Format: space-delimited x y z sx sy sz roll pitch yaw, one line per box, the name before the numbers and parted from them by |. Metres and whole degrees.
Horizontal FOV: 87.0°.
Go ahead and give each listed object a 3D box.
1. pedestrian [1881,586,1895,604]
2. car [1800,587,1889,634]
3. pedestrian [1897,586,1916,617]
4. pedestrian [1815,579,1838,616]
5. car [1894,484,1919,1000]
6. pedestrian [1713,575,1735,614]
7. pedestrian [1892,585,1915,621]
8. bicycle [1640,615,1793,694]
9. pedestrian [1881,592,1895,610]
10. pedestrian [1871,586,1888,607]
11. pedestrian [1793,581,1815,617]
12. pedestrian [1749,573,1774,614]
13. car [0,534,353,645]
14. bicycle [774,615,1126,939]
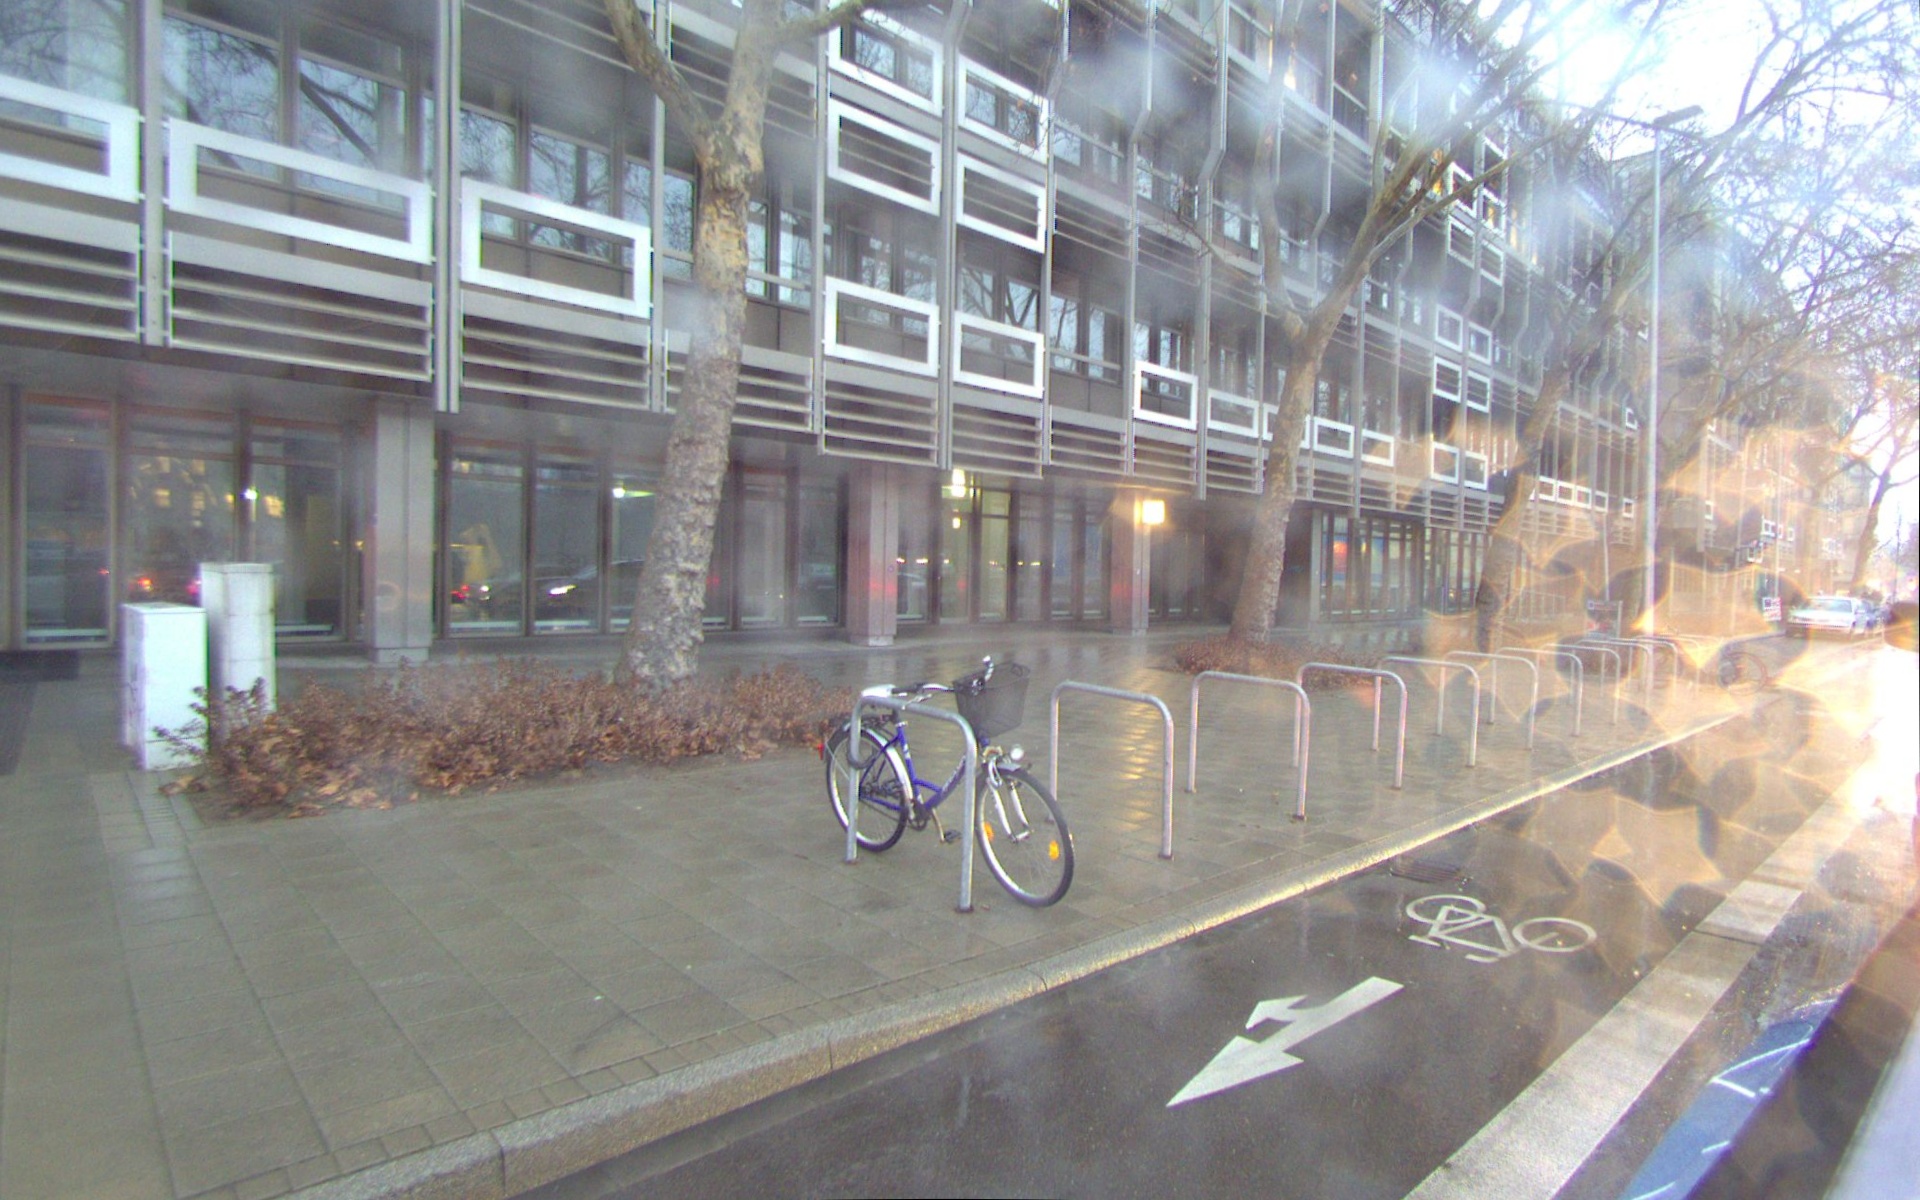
pedestrian | 69.274 -0.364 75.557 0.777 1.354 0.718 0 0 -41
car | 29.469 0.308 33.694 3.930 1.482 1.711 -1 1 -41
pedestrian | 57.021 0.082 60.964 0.765 1.771 0.913 2 2 45
pedestrian | 43.459 -0.137 50.737 0.765 1.771 0.913 2 2 45
car | 5.497 0.496 4.345 3.932 1.864 1.875 -1 0 -43
pedestrian | 39.722 -0.310 52.588 0.912 2.004 0.699 0 2 -41
pedestrian | 47.283 0.141 50.710 0.765 1.771 0.913 2 2 45
bicycle | 11.633 0.800 15.596 0.864 1.004 1.704 0 4 -41
pedestrian | 70.782 0.078 77.165 0.777 1.354 0.718 0 0 -41
pedestrian | 61.472 -0.248 67.650 0.738 1.354 0.781 0 0 -41
pedestrian | 43.000 -0.066 51.573 0.765 1.771 0.913 2 2 45
pedestrian | 44.315 -0.367 55.970 1.056 2.222 1.096 0 0 38
car | -10.771 -0.181 13.917 3.929 1.326 1.998 0 3 -40
bicycle | -0.134 0.713 4.871 0.629 1.145 1.810 2 2 -41
